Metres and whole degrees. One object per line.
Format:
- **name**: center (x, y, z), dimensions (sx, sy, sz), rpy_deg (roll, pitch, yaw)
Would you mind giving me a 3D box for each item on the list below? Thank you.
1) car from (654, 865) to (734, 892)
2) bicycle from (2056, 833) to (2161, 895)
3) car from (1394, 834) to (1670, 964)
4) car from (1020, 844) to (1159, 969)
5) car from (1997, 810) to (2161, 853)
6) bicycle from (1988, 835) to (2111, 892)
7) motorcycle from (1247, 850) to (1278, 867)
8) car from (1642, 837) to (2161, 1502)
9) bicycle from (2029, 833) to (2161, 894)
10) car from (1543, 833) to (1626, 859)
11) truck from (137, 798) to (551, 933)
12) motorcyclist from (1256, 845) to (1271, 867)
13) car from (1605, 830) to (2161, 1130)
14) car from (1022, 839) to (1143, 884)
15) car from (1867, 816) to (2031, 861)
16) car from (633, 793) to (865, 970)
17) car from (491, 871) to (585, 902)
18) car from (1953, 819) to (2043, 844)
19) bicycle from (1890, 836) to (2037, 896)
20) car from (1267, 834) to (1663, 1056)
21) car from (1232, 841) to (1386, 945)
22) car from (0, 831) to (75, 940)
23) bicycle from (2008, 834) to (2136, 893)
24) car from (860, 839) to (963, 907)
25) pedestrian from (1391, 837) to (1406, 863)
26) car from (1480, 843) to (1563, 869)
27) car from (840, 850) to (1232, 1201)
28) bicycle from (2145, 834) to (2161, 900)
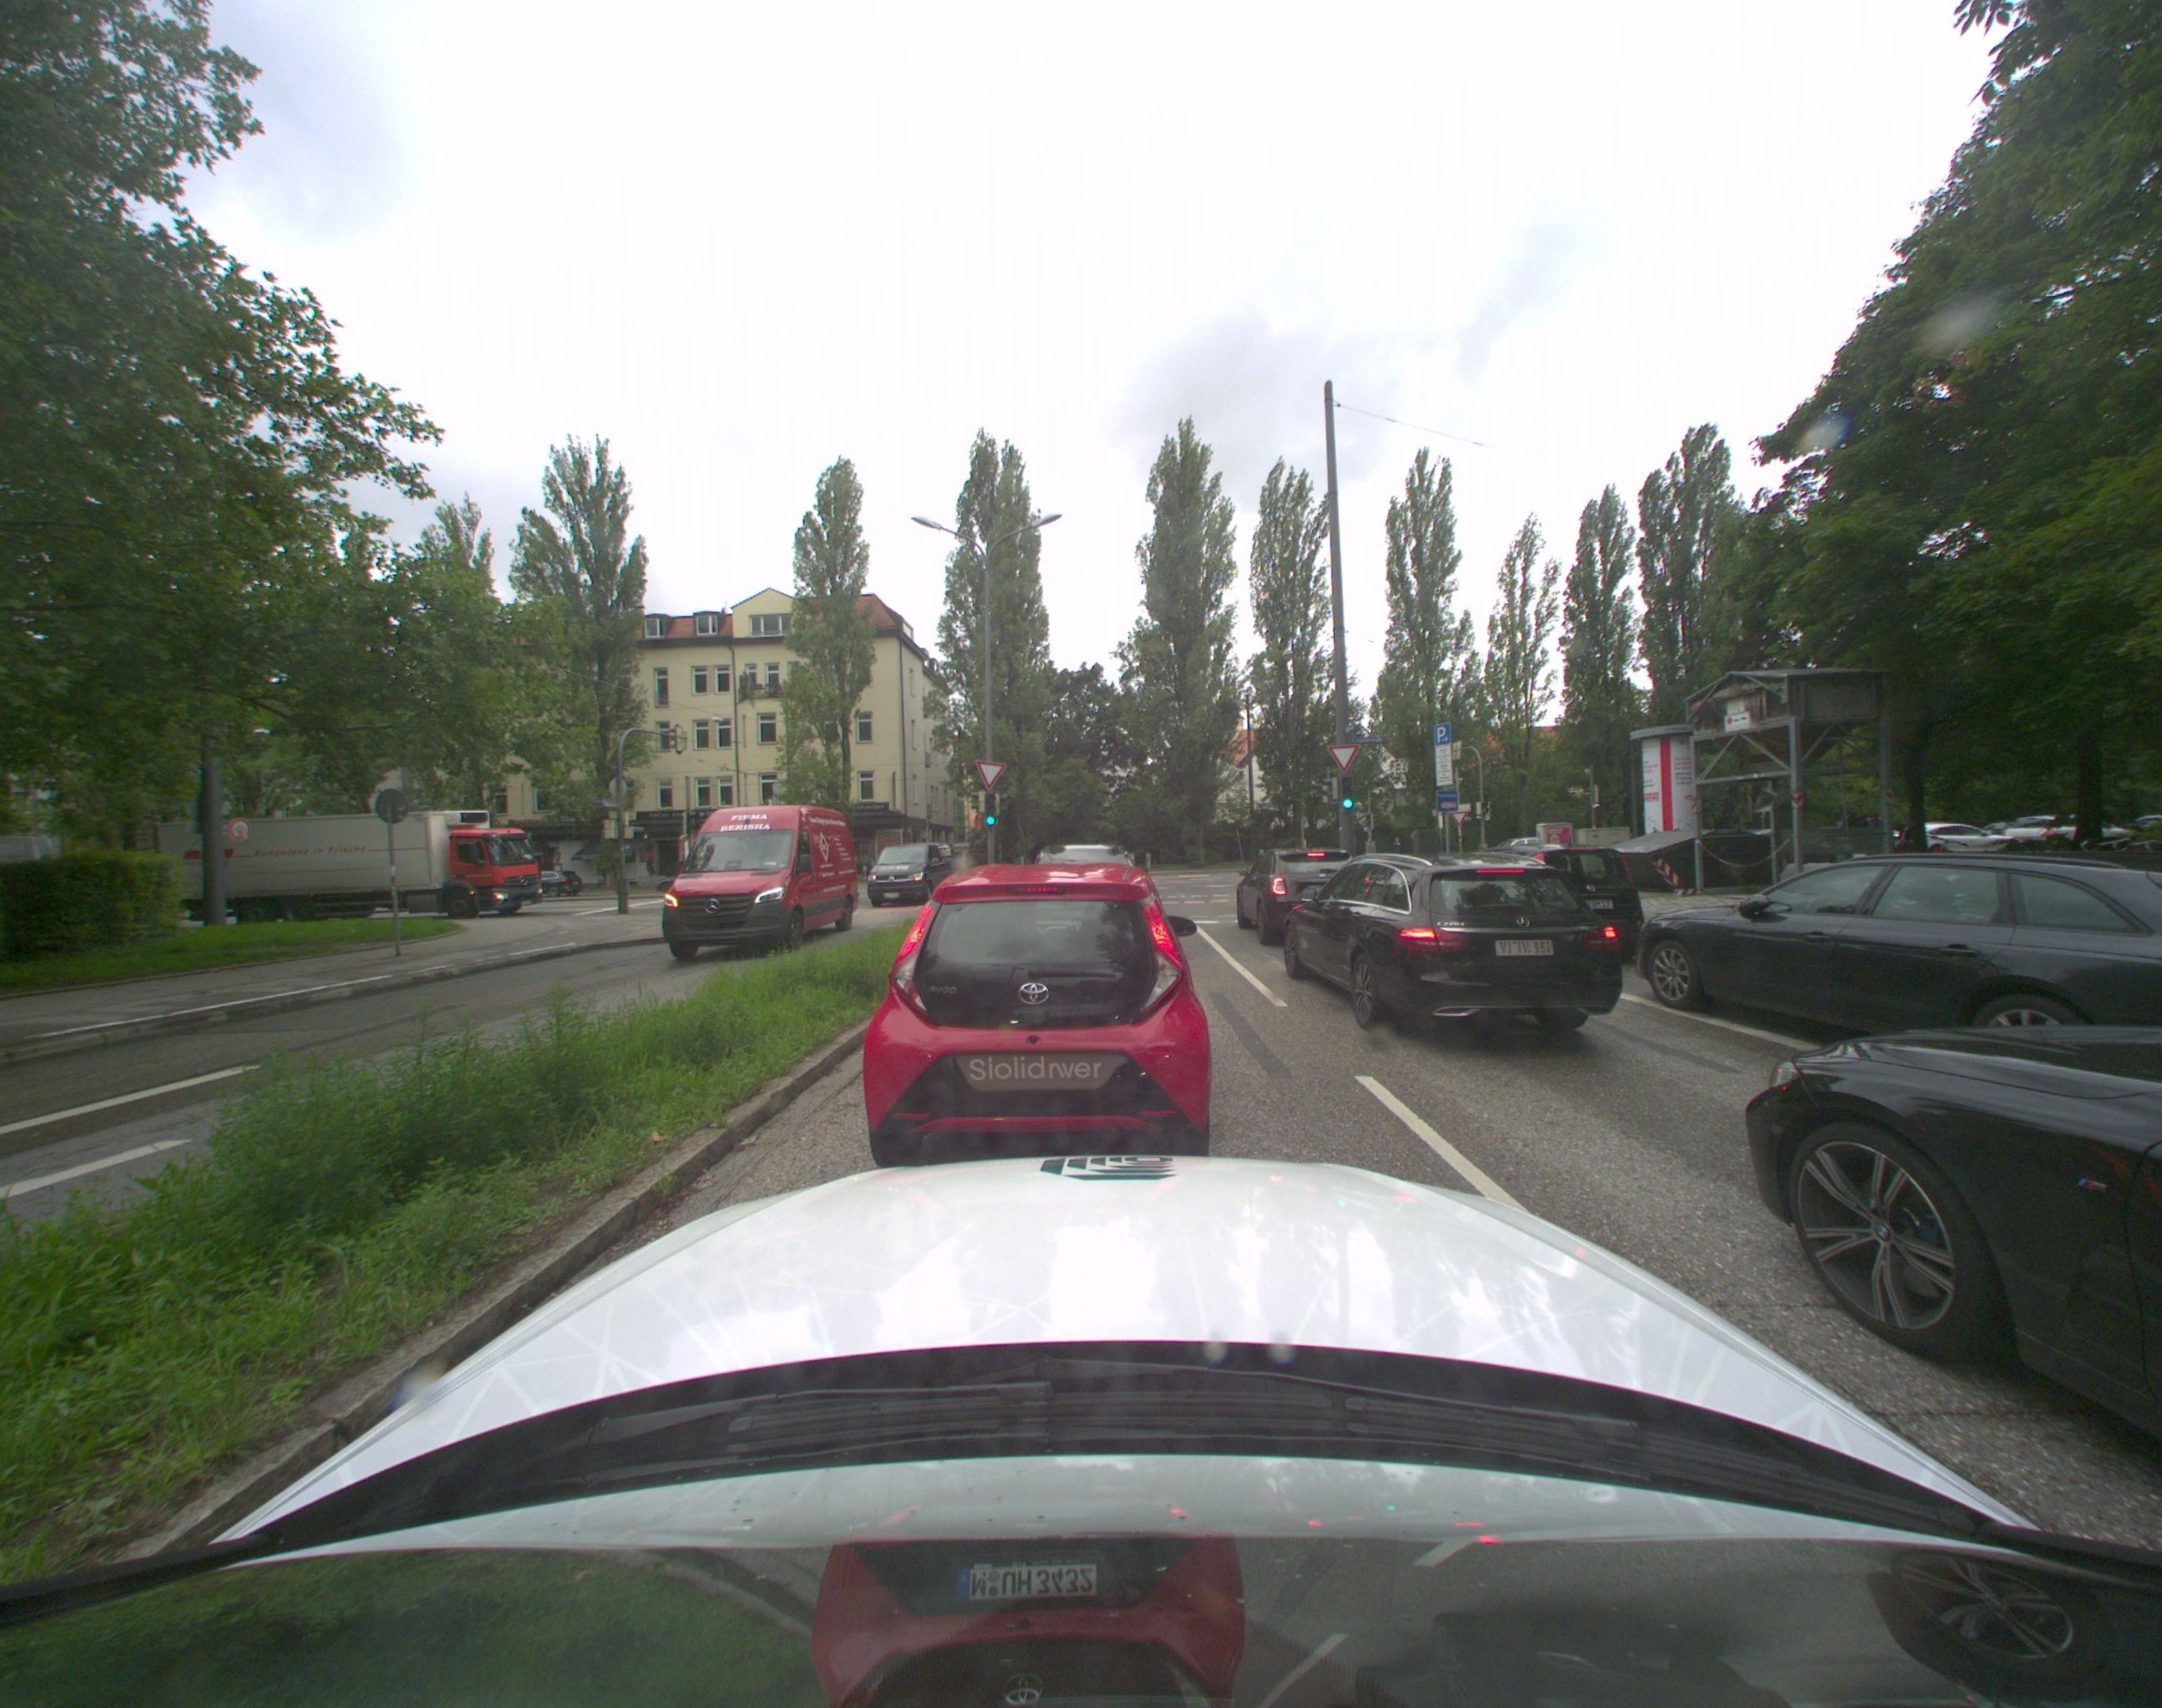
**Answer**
- **car**: center (-23.617, 1.476, 49.822), dimensions (3.977, 1.466, 1.803), rpy_deg (-2, -1, -3)
- **bicycle**: center (15.148, 0.144, 11.828), dimensions (1.400, 0.894, 0.314), rpy_deg (0, -1, 8)
- **car**: center (6.472, 0.548, 12.389), dimensions (1.823, 1.549, 4.558), rpy_deg (-2, 0, 3)
- **car**: center (0.237, 0.658, 12.722), dimensions (1.728, 1.549, 4.580), rpy_deg (-2, 0, 3)
- **car**: center (37.198, -0.829, 30.353), dimensions (4.351, 1.407, 1.729), rpy_deg (-2, 0, -4)
- **bicycle**: center (15.311, 0.151, 12.889), dimensions (1.400, 0.894, 0.314), rpy_deg (0, -1, 8)
- **motorcycle**: center (12.254, 0.310, 55.036), dimensions (2.012, 1.169, 0.632), rpy_deg (0, -1, 7)
- **car**: center (3.133, 0.673, 0.972), dimensions (1.717, 1.389, 4.801), rpy_deg (-2, 0, 2)
- **bicycle**: center (15.194, 0.147, 12.221), dimensions (1.400, 0.894, 0.314), rpy_deg (0, -1, 8)
- **car**: center (32.490, -0.510, 52.571), dimensions (4.231, 1.486, 1.786), rpy_deg (-2, 0, 0)
- **truck**: center (-25.180, 0.349, 28.206), dimensions (11.636, 3.980, 2.749), rpy_deg (-2, 1, 1)
- **motorcyclist**: center (12.324, 0.155, 55.024), dimensions (0.874, 1.443, 0.622), rpy_deg (0, -1, 7)
- **car**: center (6.233, 0.602, 5.976), dimensions (1.762, 1.460, 4.641), rpy_deg (-2, 0, 0)
- **car**: center (0.038, 0.290, 35.965), dimensions (4.928, 1.637, 2.101), rpy_deg (-3, 1, -13)
- **car**: center (31.736, -0.554, 29.853), dimensions (4.351, 1.407, 1.729), rpy_deg (-2, 0, -4)
- **car**: center (-5.832, 0.351, 15.398), dimensions (2.099, 2.589, 6.073), rpy_deg (-3, 1, -4)
- **car**: center (-33.047, 1.954, 49.636), dimensions (4.440, 1.612, 1.727), rpy_deg (-2, 0, 1)
- **car**: center (61.246, -1.484, 54.424), dimensions (4.117, 1.486, 1.785), rpy_deg (-2, 0, -3)
- **bicycle**: center (15.480, 0.200, 14.299), dimensions (2.232, 1.016, 0.628), rpy_deg (0, -1, -10)
- **car**: center (3.222, 0.629, 8.059), dimensions (1.856, 1.549, 4.706), rpy_deg (0, 0, 2)
- **car**: center (3.759, 0.589, 14.106), dimensions (1.773, 1.486, 4.005), rpy_deg (-2, 0, 4)
- **car**: center (-22.396, 0.809, 14.929), dimensions (1.975, 2.012, 4.658), rpy_deg (-1, 6, 43)
- **bicycle**: center (15.257, 0.149, 12.555), dimensions (1.400, 0.894, 0.314), rpy_deg (0, -1, 8)
- **car**: center (-5.466, 0.566, 26.928), dimensions (1.847, 1.990, 4.714), rpy_deg (-2, 0, 7)
- **pedestrian**: center (20.275, -0.251, 52.040), dimensions (0.693, 1.662, 0.555), rpy_deg (-1, -1, 42)
- **car**: center (28.048, 0.116, 51.963), dimensions (4.324, 1.486, 1.786), rpy_deg (-2, 0, 0)
- **car**: center (-0.106, 0.728, 5.152), dimensions (1.622, 1.440, 3.379), rpy_deg (-2, 0, 3)
- **bicycle**: center (15.283, 0.169, 11.147), dimensions (1.409, 0.894, 0.312), rpy_deg (0, -1, -13)
